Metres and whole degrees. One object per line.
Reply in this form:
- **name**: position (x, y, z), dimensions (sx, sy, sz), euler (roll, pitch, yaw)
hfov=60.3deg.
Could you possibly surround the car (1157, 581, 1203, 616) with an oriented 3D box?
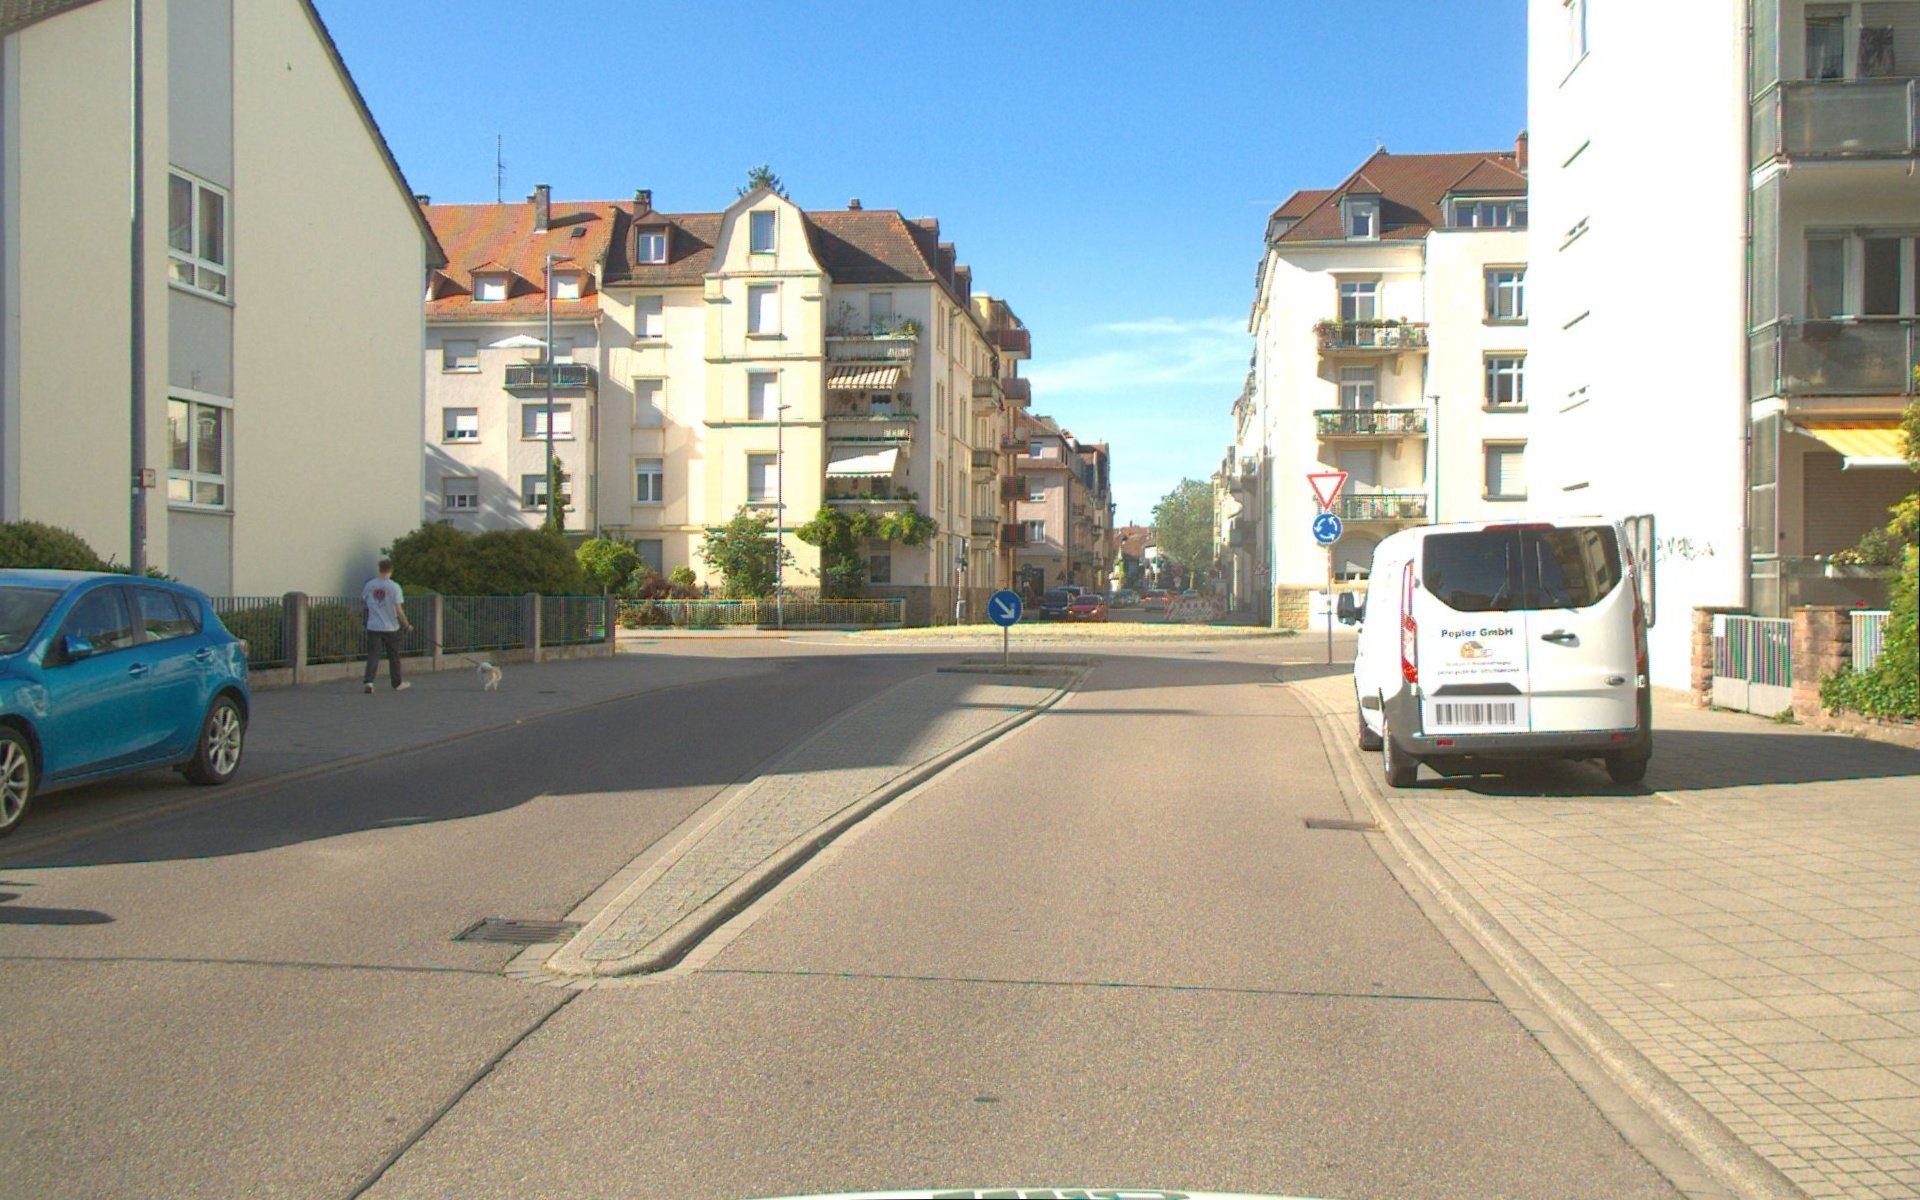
- **car**: position (11.970, -0.090, 89.660), dimensions (2.379, 1.843, 4.727), euler (0, 0, 9)

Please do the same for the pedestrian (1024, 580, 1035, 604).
- **pedestrian**: position (5.329, -0.615, 127.060), dimensions (0.782, 1.781, 0.845), euler (0, 0, 9)

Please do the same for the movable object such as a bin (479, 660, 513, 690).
- **movable object such as a bin**: position (-6.119, 0.984, 21.820), dimensions (0.215, 0.354, 0.521), euler (2, 1, 9)

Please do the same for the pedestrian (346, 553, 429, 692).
- **pedestrian**: position (-7.287, 0.295, 21.075), dimensions (0.668, 1.733, 0.824), euler (-1, -2, 8)

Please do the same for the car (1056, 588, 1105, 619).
- **car**: position (6.008, 0.197, 82.111), dimensions (1.704, 1.378, 3.671), euler (-1, -2, 16)

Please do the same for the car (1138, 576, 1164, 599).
- **car**: position (14.527, -0.943, 125.806), dimensions (1.951, 1.769, 4.003), euler (0, 0, 7)

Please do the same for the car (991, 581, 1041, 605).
- **car**: position (4.686, -0.590, 138.434), dimensions (3.817, 2.049, 1.765), euler (0, 0, 15)

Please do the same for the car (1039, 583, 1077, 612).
- **car**: position (5.435, -0.163, 91.406), dimensions (1.951, 1.559, 4.003), euler (0, 0, 6)

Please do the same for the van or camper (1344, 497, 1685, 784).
- **van or camper**: position (4.464, 0.282, 14.085), dimensions (1.977, 1.981, 4.707), euler (-2, 0, 10)

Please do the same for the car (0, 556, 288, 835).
- **car**: position (-6.003, 0.480, 10.309), dimensions (1.760, 1.499, 4.331), euler (1, 1, 1)

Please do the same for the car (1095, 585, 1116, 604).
- **car**: position (12.888, -0.473, 146.270), dimensions (1.599, 1.685, 3.674), euler (0, 0, 8)
